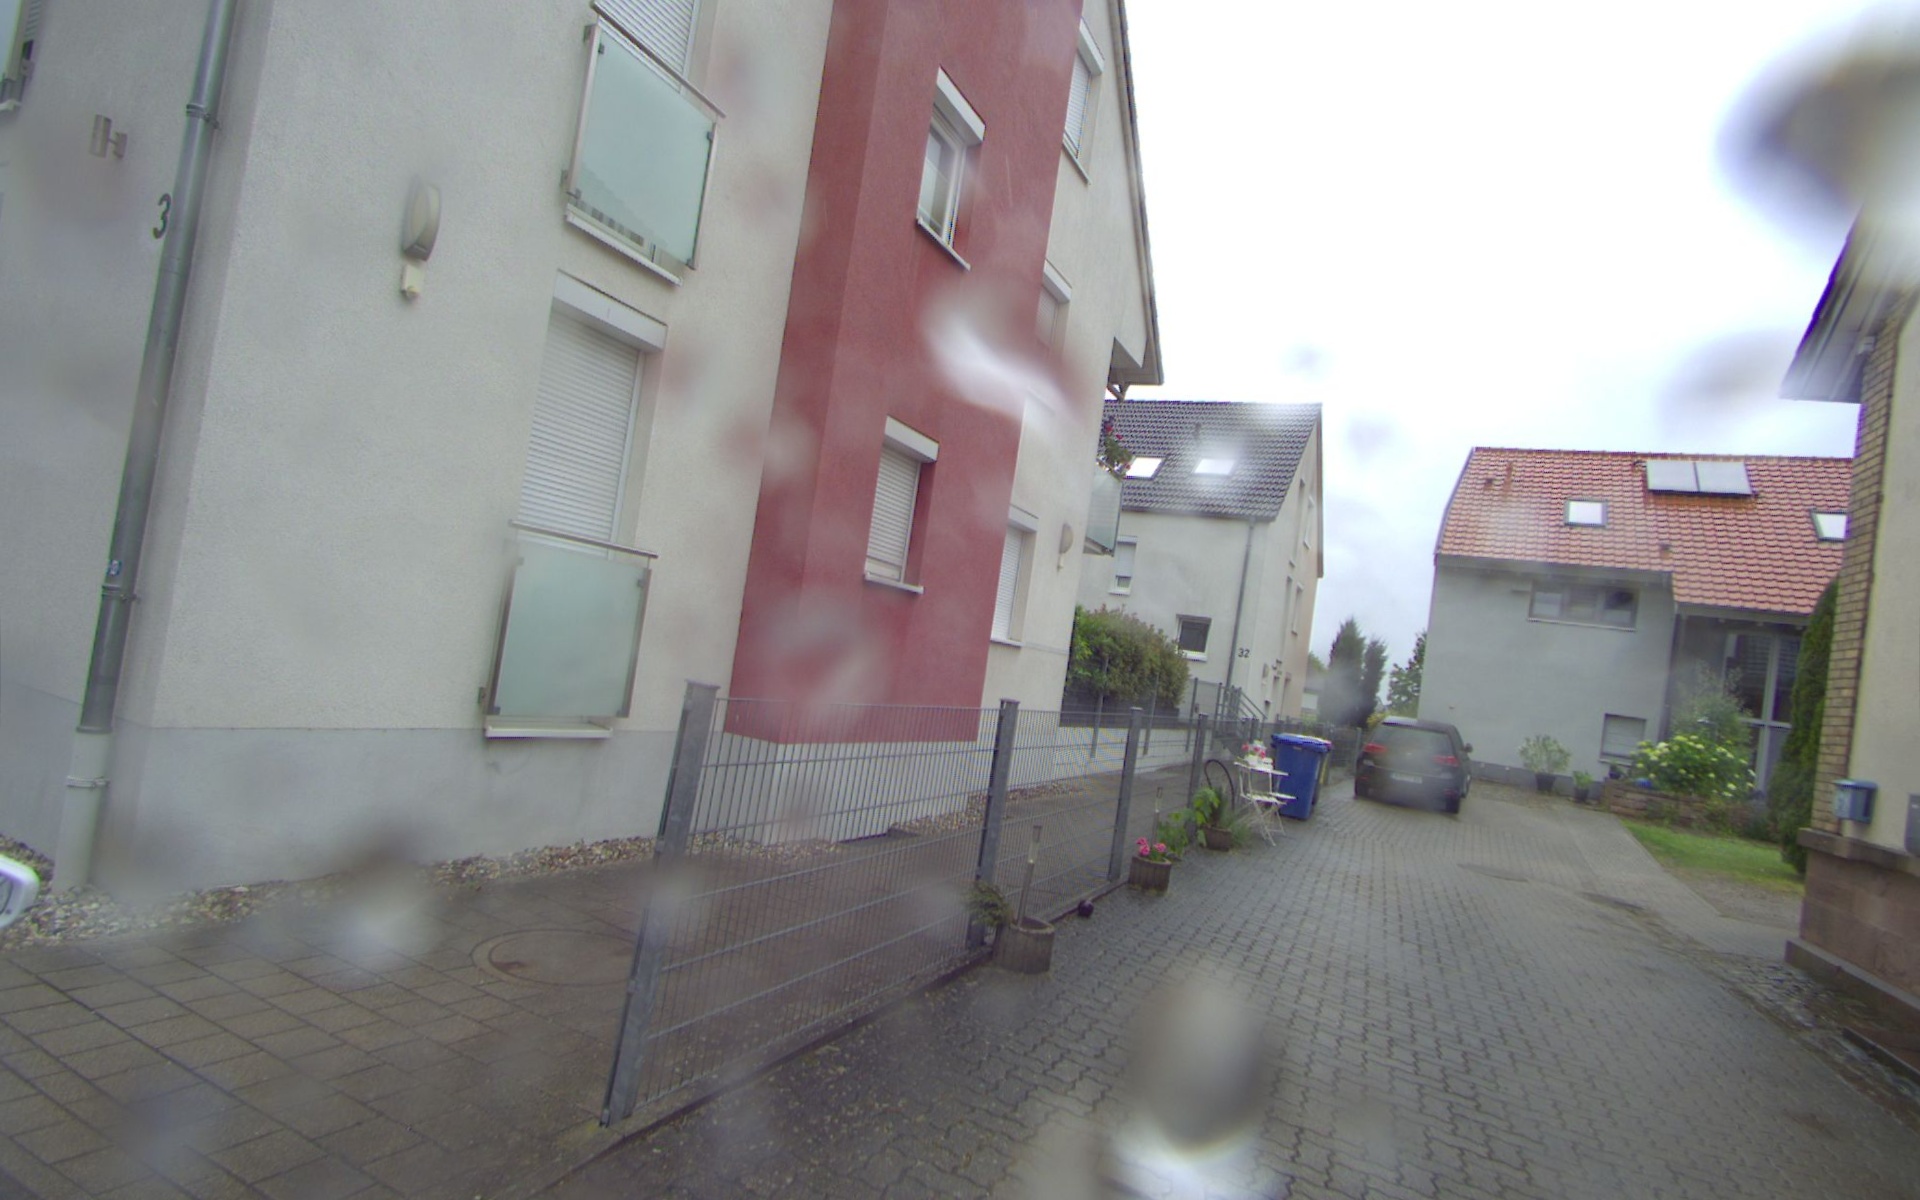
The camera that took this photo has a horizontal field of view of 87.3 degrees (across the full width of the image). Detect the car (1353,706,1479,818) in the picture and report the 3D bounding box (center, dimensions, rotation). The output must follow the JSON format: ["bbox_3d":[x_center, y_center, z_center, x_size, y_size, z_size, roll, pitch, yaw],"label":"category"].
[{"bbox_3d":[8.550,2.894,18.696,1.656,1.491,3.993,7,0,30],"label":"car"}]

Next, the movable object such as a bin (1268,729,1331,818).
[{"bbox_3d":[4.814,2.440,14.255,0.675,1.108,0.536,7,-2,25],"label":"movable object such as a bin"}]

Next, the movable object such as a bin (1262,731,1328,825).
[{"bbox_3d":[4.491,2.367,13.478,0.675,1.108,0.536,7,-2,25],"label":"movable object such as a bin"}]
